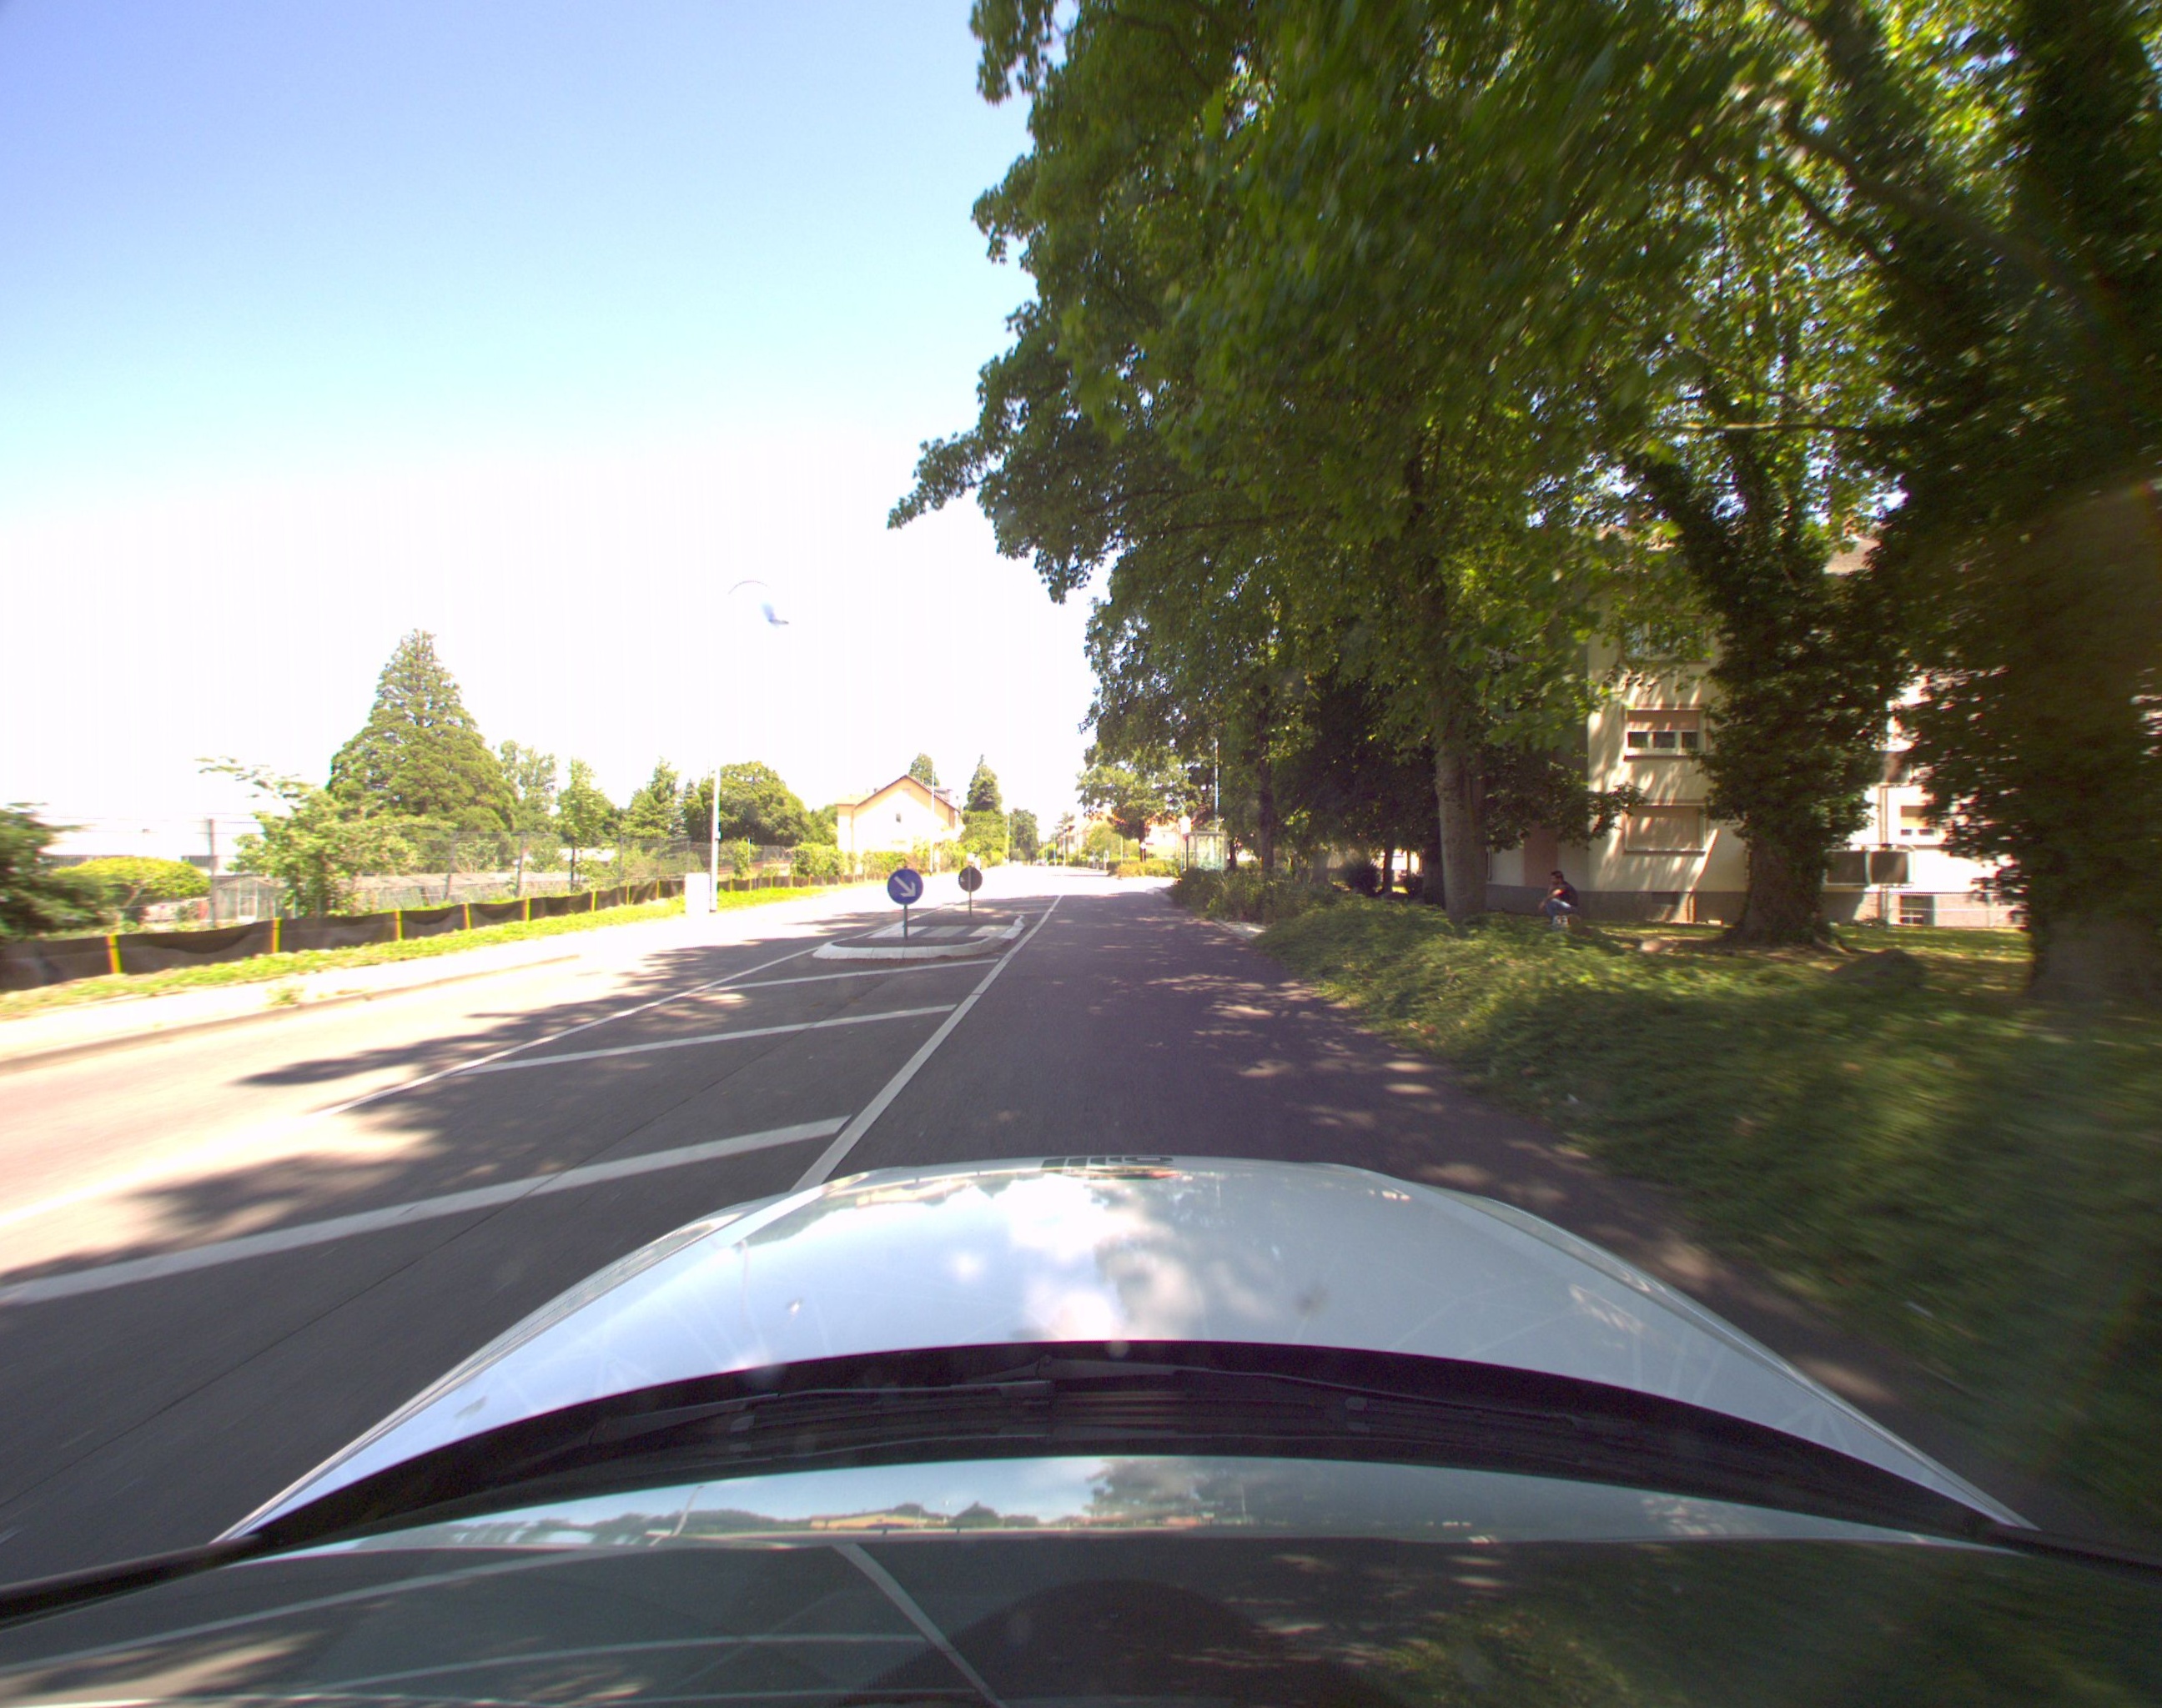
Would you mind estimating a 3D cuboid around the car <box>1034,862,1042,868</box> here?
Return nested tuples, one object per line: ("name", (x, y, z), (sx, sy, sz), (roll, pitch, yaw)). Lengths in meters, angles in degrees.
("car", (-10.451, 2.671, 197.991), (1.691, 1.419, 4.540), (1, -2, -6))

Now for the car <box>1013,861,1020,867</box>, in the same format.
("car", (-15.203, 2.421, 192.358), (1.677, 1.372, 4.200), (-1, 0, -4))

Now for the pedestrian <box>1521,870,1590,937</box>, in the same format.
("pedestrian", (9.622, 0.989, 16.555), (0.932, 1.293, 1.073), (0, -1, 13))

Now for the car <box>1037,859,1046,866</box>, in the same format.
("car", (-9.174, 2.004, 188.663), (1.691, 1.419, 4.540), (1, -2, -6))
